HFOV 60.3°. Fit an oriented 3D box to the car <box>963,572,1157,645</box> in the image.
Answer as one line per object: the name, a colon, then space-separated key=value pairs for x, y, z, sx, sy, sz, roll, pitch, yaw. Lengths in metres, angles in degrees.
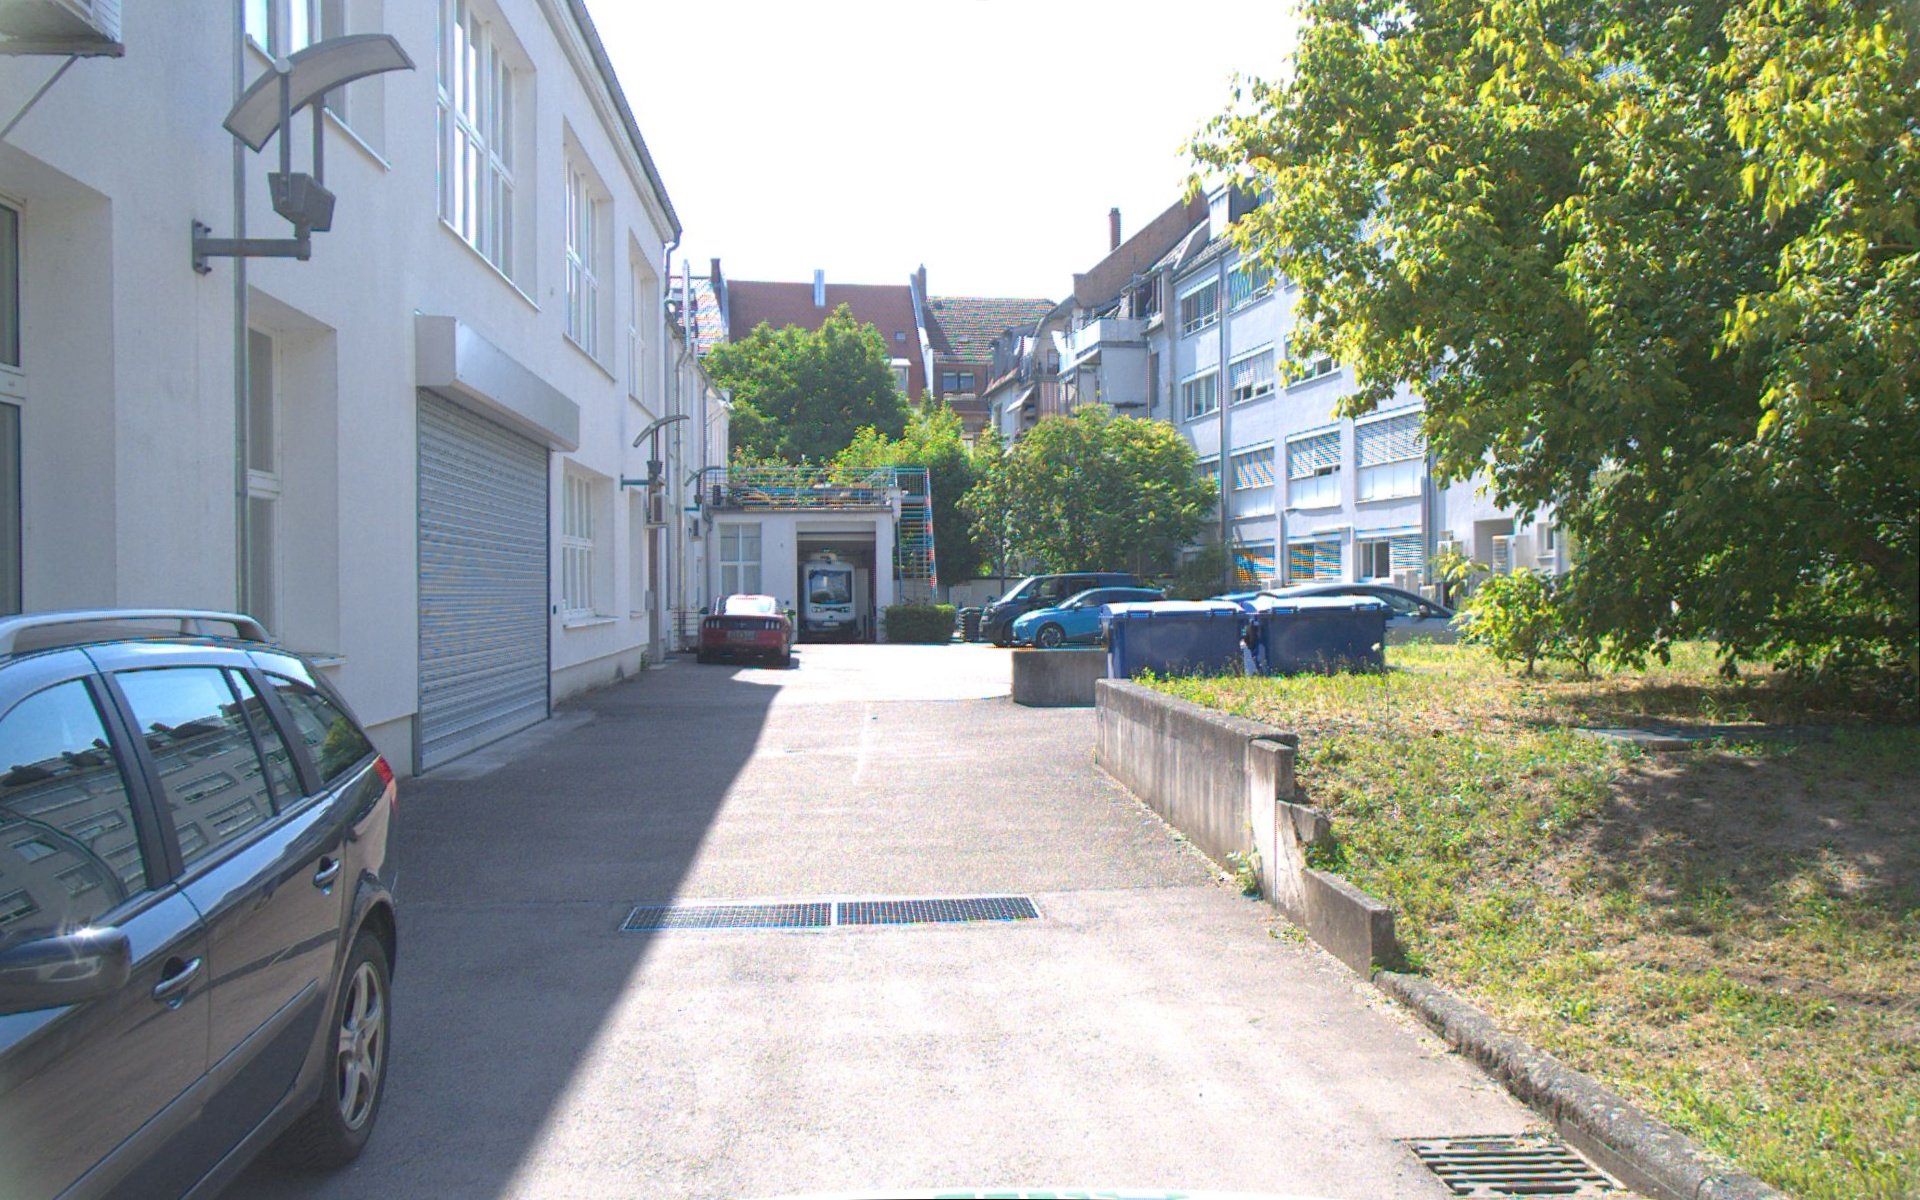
car: x=2.727 y=0.192 z=45.351 sx=4.873 sy=1.798 sz=2.087 roll=-2 pitch=1 yaw=-17

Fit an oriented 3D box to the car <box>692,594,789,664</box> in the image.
car: x=-4.513 y=0.568 z=34.482 sx=1.816 sy=1.342 sz=3.996 roll=1 pitch=0 yaw=-5

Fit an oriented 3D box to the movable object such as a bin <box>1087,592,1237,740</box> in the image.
movable object such as a bin: x=1.983 y=0.627 z=16.405 sx=1.224 sy=1.379 sz=1.127 roll=-1 pitch=0 yaw=-8

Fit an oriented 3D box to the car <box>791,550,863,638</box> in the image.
car: x=-4.333 y=-0.179 z=54.369 sx=2.131 sy=2.652 sz=6.729 roll=-2 pitch=0 yaw=-4

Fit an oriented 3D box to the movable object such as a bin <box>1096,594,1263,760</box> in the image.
movable object such as a bin: x=1.914 y=0.662 z=14.625 sx=1.222 sy=1.342 sz=1.141 roll=-3 pitch=-1 yaw=-3

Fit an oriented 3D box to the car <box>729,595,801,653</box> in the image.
car: x=-4.854 y=0.567 z=41.489 sx=1.582 sy=1.318 sz=3.756 roll=-1 pitch=0 yaw=-4

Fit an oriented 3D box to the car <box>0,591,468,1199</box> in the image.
car: x=-2.303 y=0.712 z=2.981 sx=1.801 sy=1.467 sz=4.425 roll=2 pitch=-1 yaw=-5

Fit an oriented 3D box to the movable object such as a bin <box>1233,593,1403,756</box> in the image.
movable object such as a bin: x=3.162 y=0.636 z=14.721 sx=1.222 sy=1.364 sz=1.142 roll=-1 pitch=0 yaw=-2

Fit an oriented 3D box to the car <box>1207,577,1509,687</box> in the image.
car: x=5.782 y=0.435 z=24.256 sx=3.911 sy=1.452 sz=1.809 roll=-1 pitch=0 yaw=-7

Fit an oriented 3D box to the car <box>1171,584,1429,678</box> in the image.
car: x=5.647 y=0.489 z=27.710 sx=3.909 sy=1.418 sz=1.687 roll=-1 pitch=0 yaw=-5

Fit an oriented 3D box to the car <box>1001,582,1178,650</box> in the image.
car: x=3.252 y=0.384 z=42.134 sx=4.150 sy=1.559 sz=1.997 roll=-2 pitch=1 yaw=-8

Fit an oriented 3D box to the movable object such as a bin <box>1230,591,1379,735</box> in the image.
movable object such as a bin: x=3.422 y=0.603 z=16.521 sx=1.133 sy=1.359 sz=1.140 roll=-1 pitch=0 yaw=-8
